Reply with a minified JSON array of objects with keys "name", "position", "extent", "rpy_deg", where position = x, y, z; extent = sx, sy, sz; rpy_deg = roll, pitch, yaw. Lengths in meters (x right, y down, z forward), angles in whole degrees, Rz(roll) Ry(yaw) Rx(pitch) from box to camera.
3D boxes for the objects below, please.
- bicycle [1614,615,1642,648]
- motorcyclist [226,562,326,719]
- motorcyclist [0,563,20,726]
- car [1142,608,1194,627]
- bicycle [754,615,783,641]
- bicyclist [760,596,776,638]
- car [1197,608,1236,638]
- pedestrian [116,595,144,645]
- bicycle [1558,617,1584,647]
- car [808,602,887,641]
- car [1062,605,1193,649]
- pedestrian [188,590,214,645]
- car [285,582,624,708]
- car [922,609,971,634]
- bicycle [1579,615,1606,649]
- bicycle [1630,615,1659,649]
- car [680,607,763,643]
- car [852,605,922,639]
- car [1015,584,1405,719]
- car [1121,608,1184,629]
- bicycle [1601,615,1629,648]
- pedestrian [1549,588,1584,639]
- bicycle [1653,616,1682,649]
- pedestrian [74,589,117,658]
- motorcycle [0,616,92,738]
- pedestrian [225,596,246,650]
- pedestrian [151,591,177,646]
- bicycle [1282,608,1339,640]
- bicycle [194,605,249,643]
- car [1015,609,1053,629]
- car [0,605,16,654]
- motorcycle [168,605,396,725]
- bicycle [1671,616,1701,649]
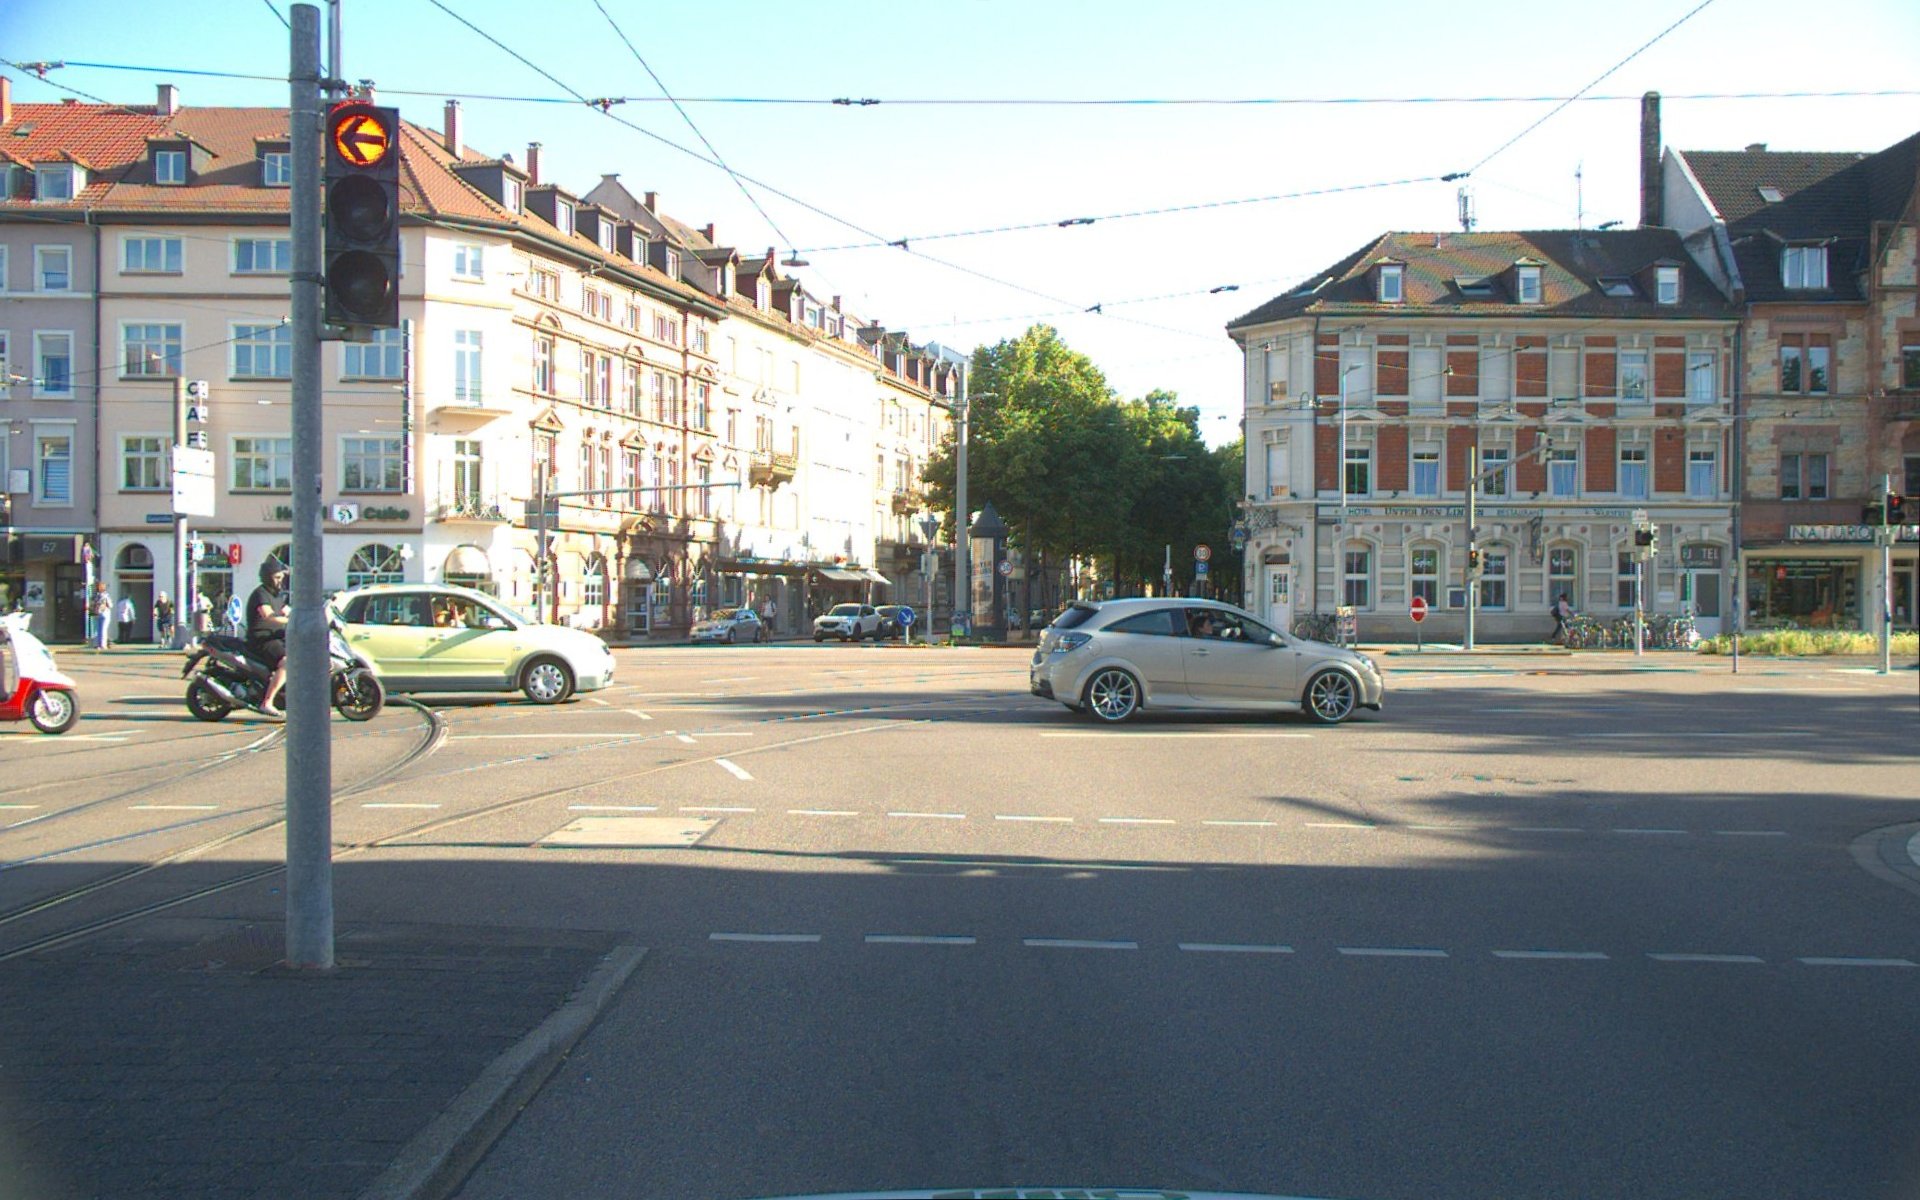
[{"name":"bicycle","position":[21.613,1.013,53.552],"extent":[0.476,1.038,1.785],"rpy_deg":[0,0,9]},{"name":"motorcyclist","position":[-7.361,0.432,17.836],"extent":[0.817,1.648,0.814],"rpy_deg":[1,-1,-12]},{"name":"motorcyclist","position":[-9.485,0.421,15.717],"extent":[0.800,1.534,0.657],"rpy_deg":[0,0,-13]},{"name":"car","position":[14.046,1.154,111.661],"extent":[3.360,1.261,1.578],"rpy_deg":[0,0,10]},{"name":"bicycle","position":[-7.555,1.100,65.167],"extent":[0.641,1.018,1.666],"rpy_deg":[1,0,11]},{"name":"bicyclist","position":[-7.546,0.655,65.067],"extent":[0.479,1.629,0.667],"rpy_deg":[0,0,9]},{"name":"car","position":[12.855,1.145,82.706],"extent":[1.717,1.445,4.003],"rpy_deg":[0,0,12]},{"name":"pedestrian","position":[-28.311,0.669,56.422],"extent":[0.727,1.711,0.626],"rpy_deg":[0,0,-12]},{"name":"bicycle","position":[19.805,1.019,53.653],"extent":[0.476,0.930,1.785],"rpy_deg":[0,0,9]},{"name":"car","position":[-4.540,0.850,67.348],"extent":[1.951,1.542,4.172],"rpy_deg":[0,0,15]},{"name":"car","position":[5.355,0.844,53.206],"extent":[4.002,1.323,1.712],"rpy_deg":[0,0,43]},{"name":"pedestrian","position":[-23.748,0.549,51.762],"extent":[0.731,1.711,0.623],"rpy_deg":[0,0,-26]},{"name":"car","position":[-6.330,0.532,21.083],"extent":[3.881,1.525,1.738],"rpy_deg":[0,0,-8]},{"name":"car","position":[-0.817,1.321,102.056],"extent":[1.951,1.429,4.172],"rpy_deg":[0,0,15]},{"name":"bicycle","position":[20.475,1.026,53.576],"extent":[0.476,1.038,1.785],"rpy_deg":[0,0,9]},{"name":"bicycle","position":[22.112,1.021,53.481],"extent":[0.476,1.038,1.785],"rpy_deg":[0,0,9]},{"name":"car","position":[-9.598,0.987,66.881],"extent":[1.951,1.385,3.821],"rpy_deg":[0,0,15]},{"name":"car","position":[-3.225,0.955,73.579],"extent":[1.951,1.429,4.172],"rpy_deg":[0,0,15]},{"name":"car","position":[2.850,0.590,19.292],"extent":[4.188,1.466,1.738],"rpy_deg":[1,0,-8]},{"name":"car","position":[12.318,1.144,105.562],"extent":[3.902,1.311,1.696],"rpy_deg":[0,0,10]},{"name":"bicycle","position":[21.164,1.005,53.484],"extent":[0.476,1.038,1.785],"rpy_deg":[0,0,9]},{"name":"pedestrian","position":[20.981,0.469,57.254],"extent":[1.013,1.741,0.630],"rpy_deg":[1,-1,8]},{"name":"bicycle","position":[22.907,1.035,53.560],"extent":[0.476,1.038,1.785],"rpy_deg":[0,0,9]},{"name":"pedestrian","position":[-21.571,0.572,41.280],"extent":[0.725,1.711,0.628],"rpy_deg":[0,0,-1]},{"name":"motorcycle","position":[-9.404,0.730,15.710],"extent":[1.989,1.138,0.503],"rpy_deg":[0,0,-12]},{"name":"pedestrian","position":[-17.227,0.545,39.316],"extent":[0.358,1.275,0.449],"rpy_deg":[0,0,-12]},{"name":"pedestrian","position":[-24.951,0.585,51.834],"extent":[0.731,1.711,0.623],"rpy_deg":[0,0,-26]},{"name":"bicycle","position":[12.178,0.831,57.514],"extent":[1.911,1.072,0.716],"rpy_deg":[0,0,9]},{"name":"bicycle","position":[-25.255,0.817,56.561],"extent":[1.684,1.299,0.385],"rpy_deg":[0,0,-18]},{"name":"car","position":[5.476,1.382,122.640],"extent":[1.951,1.429,4.172],"rpy_deg":[0,0,15]},{"name":"car","position":[-32.131,0.902,52.155],"extent":[3.651,1.517,1.818],"rpy_deg":[1,0,2]},{"name":"motorcycle","position":[-7.255,0.678,17.791],"extent":[2.166,1.250,0.693],"rpy_deg":[0,0,-12]},{"name":"bicycle","position":[23.591,1.048,53.743],"extent":[0.476,1.038,1.785],"rpy_deg":[0,0,9]}]
